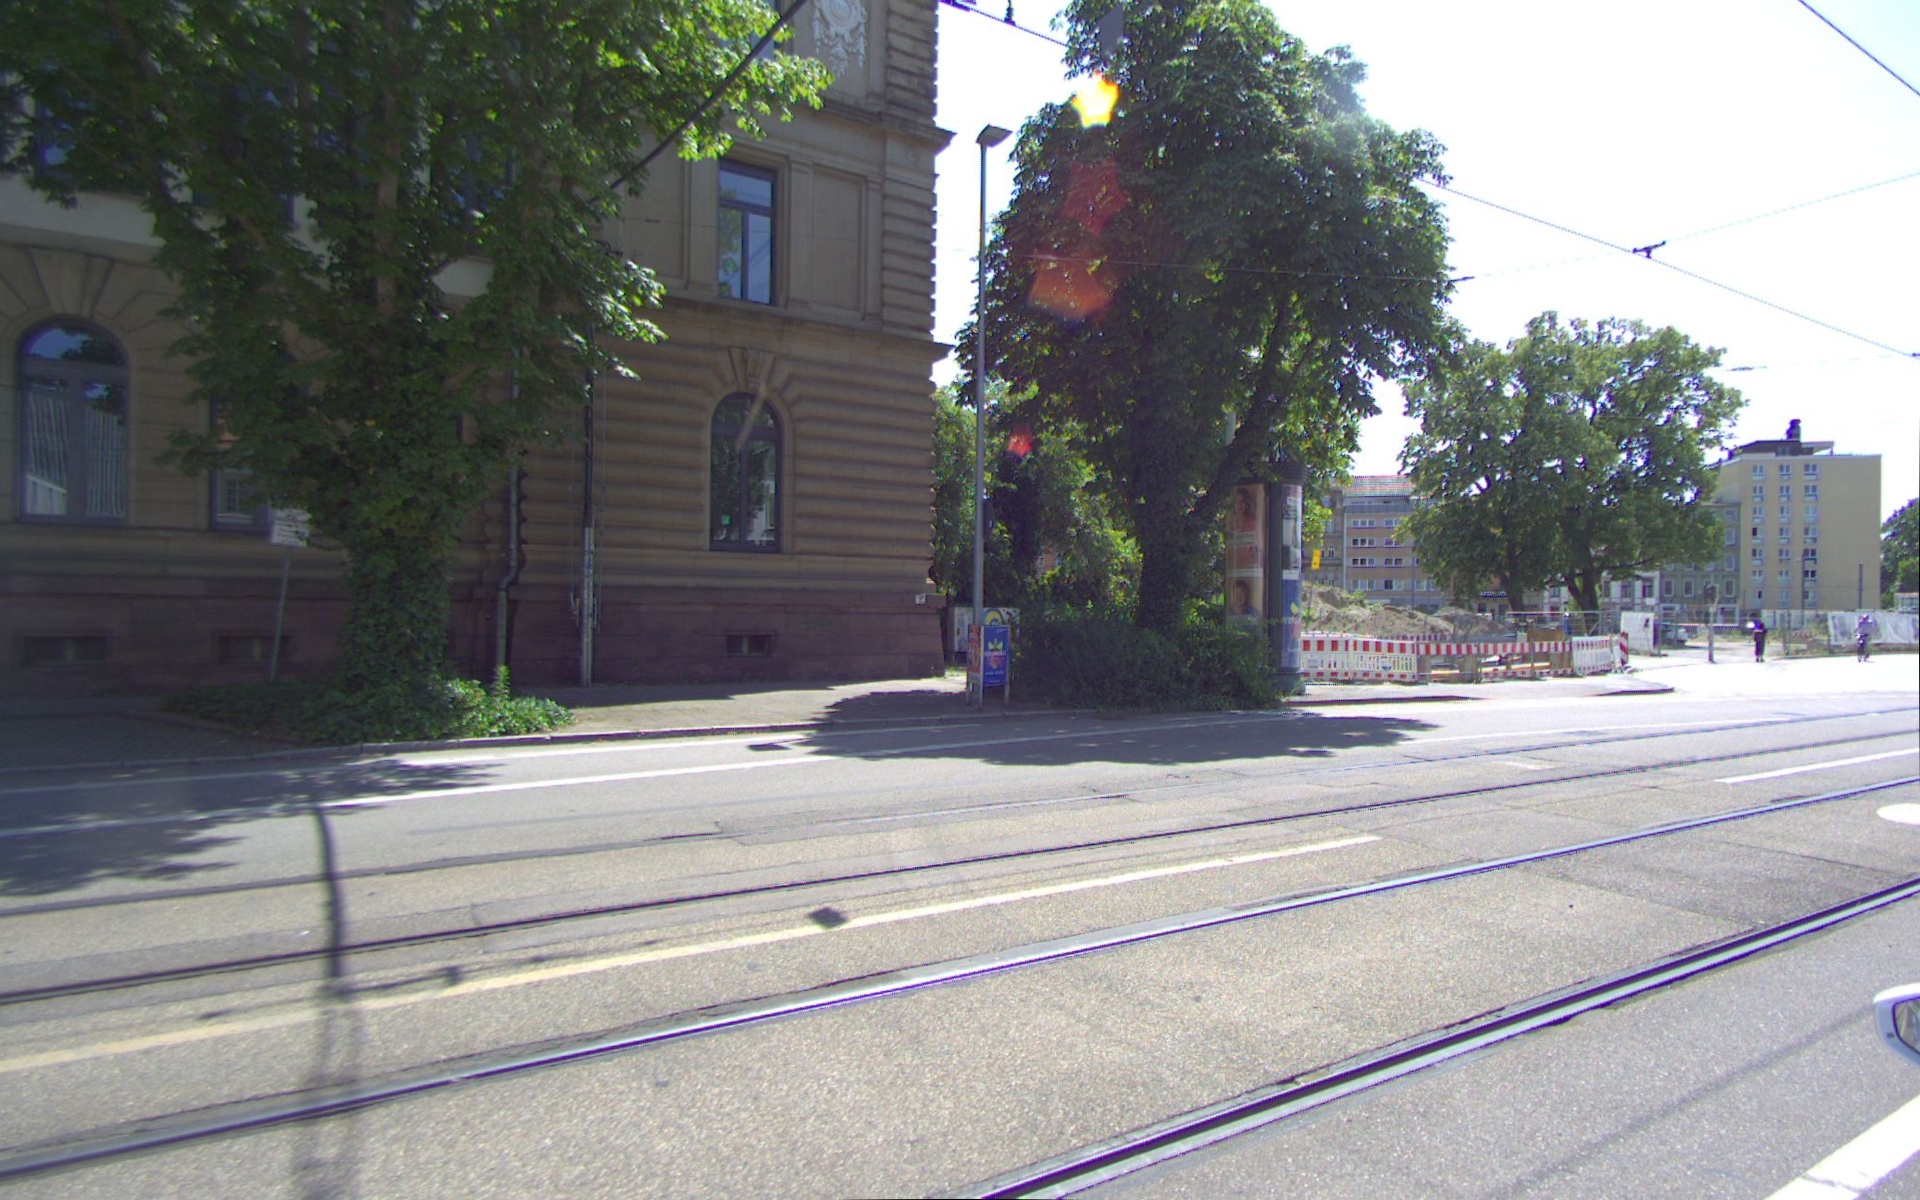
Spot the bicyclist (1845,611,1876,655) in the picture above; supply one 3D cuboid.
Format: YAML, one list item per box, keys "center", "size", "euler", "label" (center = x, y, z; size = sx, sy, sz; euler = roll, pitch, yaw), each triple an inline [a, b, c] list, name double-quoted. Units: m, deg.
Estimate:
- center: [36.553, 1.332, 40.771]
  size: [0.764, 1.732, 0.814]
  euler: [0, -1, -39]
  label: "bicyclist"

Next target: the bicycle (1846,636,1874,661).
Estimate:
- center: [36.536, 1.961, 40.768]
  size: [2.350, 0.926, 0.499]
  euler: [1, -1, -39]
  label: "bicycle"

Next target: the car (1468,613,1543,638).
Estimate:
- center: [42.715, 1.966, 78.741]
  size: [4.948, 1.909, 2.114]
  euler: [0, -1, -11]
  label: "car"

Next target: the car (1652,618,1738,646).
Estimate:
- center: [46.930, 2.010, 64.231]
  size: [1.822, 1.671, 4.180]
  euler: [0, -1, -18]
  label: "car"

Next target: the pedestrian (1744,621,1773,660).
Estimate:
- center: [33.322, 1.689, 41.914]
  size: [0.813, 1.623, 0.605]
  euler: [0, -1, -21]
  label: "pedestrian"
